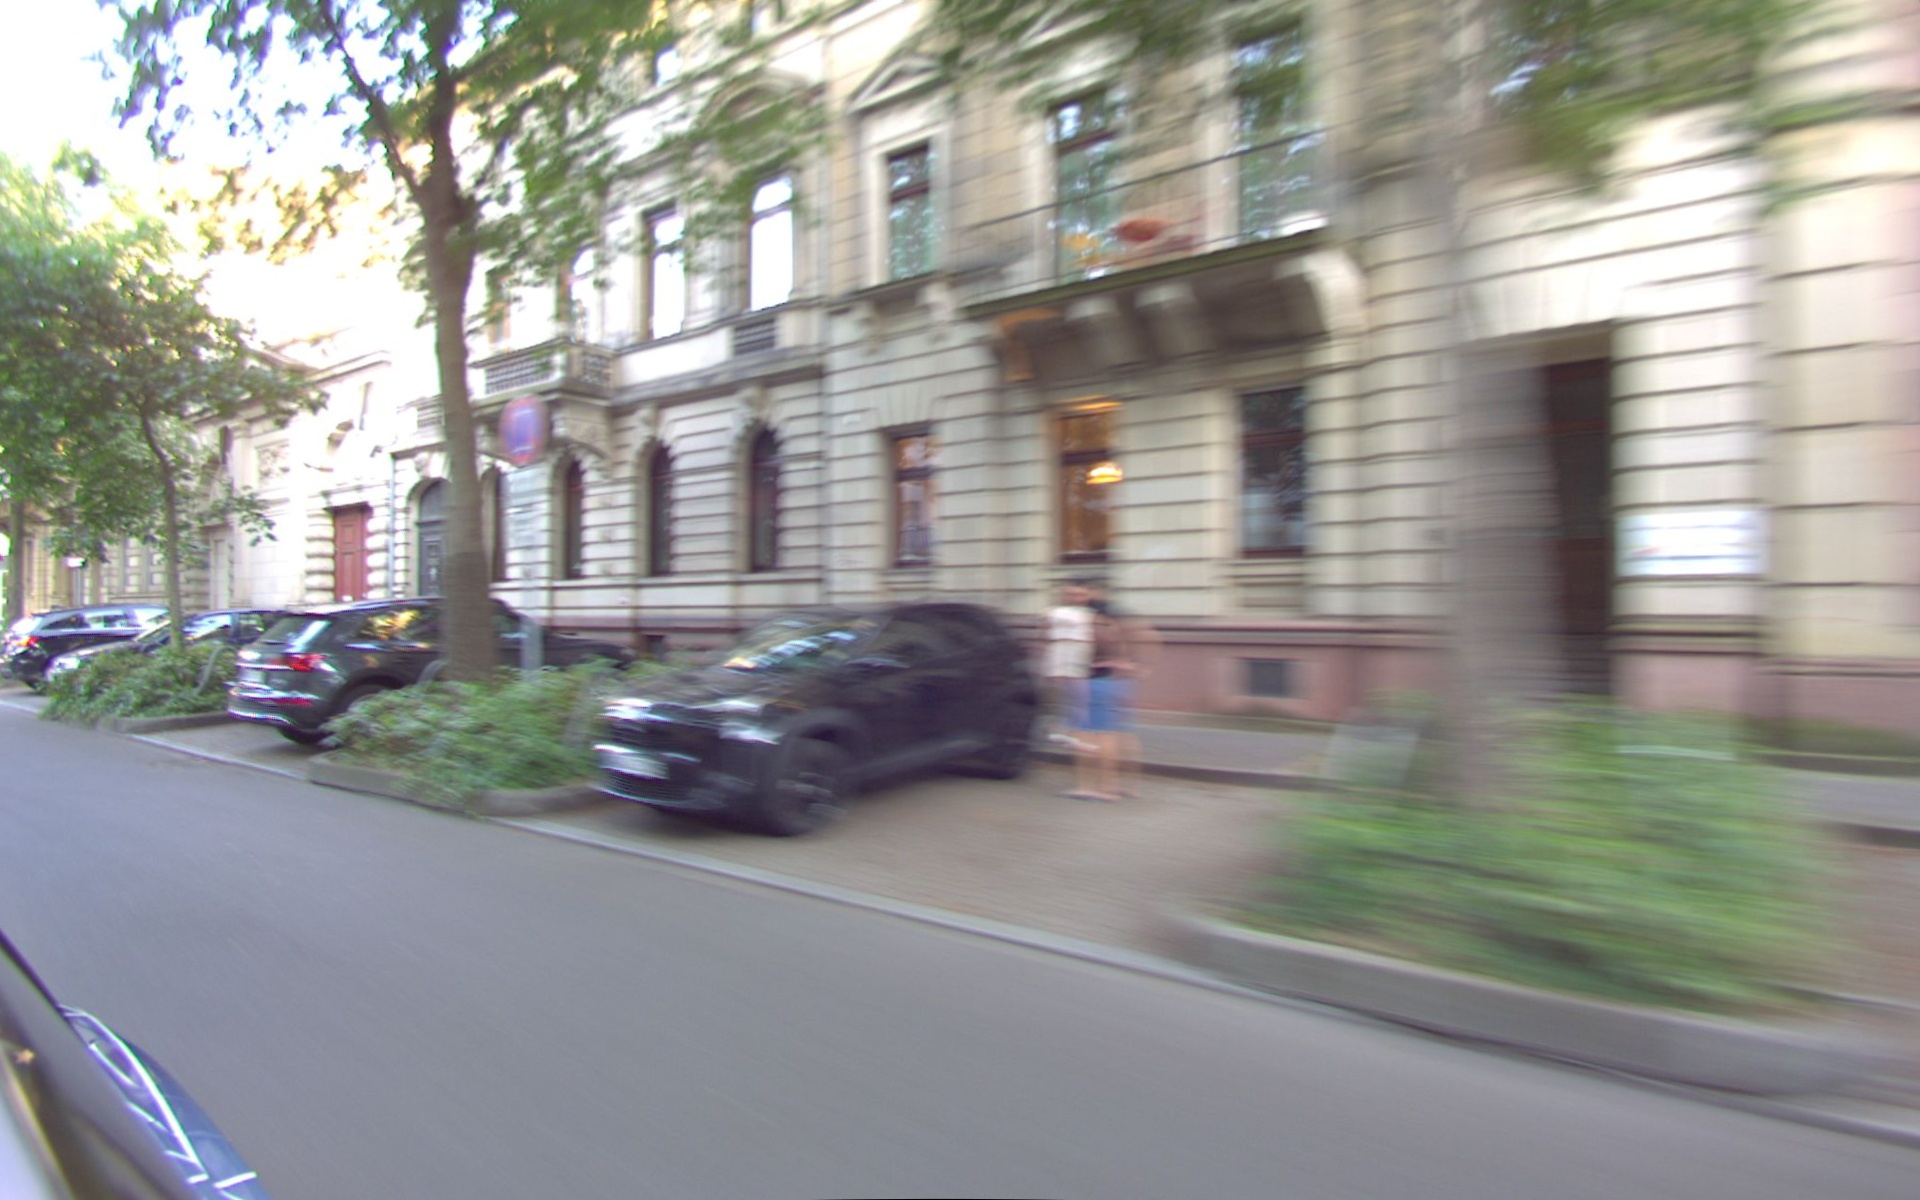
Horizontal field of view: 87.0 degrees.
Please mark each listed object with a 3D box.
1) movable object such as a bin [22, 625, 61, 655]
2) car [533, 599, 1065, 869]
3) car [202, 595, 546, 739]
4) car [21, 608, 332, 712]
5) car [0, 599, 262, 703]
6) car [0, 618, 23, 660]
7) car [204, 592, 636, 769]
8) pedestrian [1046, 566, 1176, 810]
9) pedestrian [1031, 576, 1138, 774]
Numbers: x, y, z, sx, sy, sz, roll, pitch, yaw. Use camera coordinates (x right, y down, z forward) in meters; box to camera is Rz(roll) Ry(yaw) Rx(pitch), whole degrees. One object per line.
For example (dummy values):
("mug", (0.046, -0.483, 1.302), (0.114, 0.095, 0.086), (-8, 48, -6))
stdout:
("movable object such as a bin", (-34.012, 1.478, 37.486), (1.314, 1.070, 0.793), (-1, 1, 36))
("car", (-1.016, 0.774, 7.960), (1.905, 1.544, 3.908), (-1, 0, 38))
("car", (-8.000, 0.811, 14.118), (1.710, 1.684, 3.768), (-2, 0, 35))
("car", (-13.476, 0.955, 17.614), (1.762, 1.397, 3.929), (-2, 1, 37))
("car", (-16.280, 0.895, 19.772), (1.777, 1.608, 3.930), (-1, 3, 36))
("car", (-34.160, 1.320, 33.421), (1.913, 1.401, 4.471), (-1, -1, 37))
("car", (-6.260, 0.800, 12.170), (1.904, 1.684, 4.163), (-2, 0, 36))
("pedestrian", (1.161, 0.637, 7.772), (0.671, 1.752, 0.726), (-1, -1, 43))
("pedestrian", (1.166, 0.666, 9.475), (0.671, 1.752, 0.726), (-1, -1, 43))
